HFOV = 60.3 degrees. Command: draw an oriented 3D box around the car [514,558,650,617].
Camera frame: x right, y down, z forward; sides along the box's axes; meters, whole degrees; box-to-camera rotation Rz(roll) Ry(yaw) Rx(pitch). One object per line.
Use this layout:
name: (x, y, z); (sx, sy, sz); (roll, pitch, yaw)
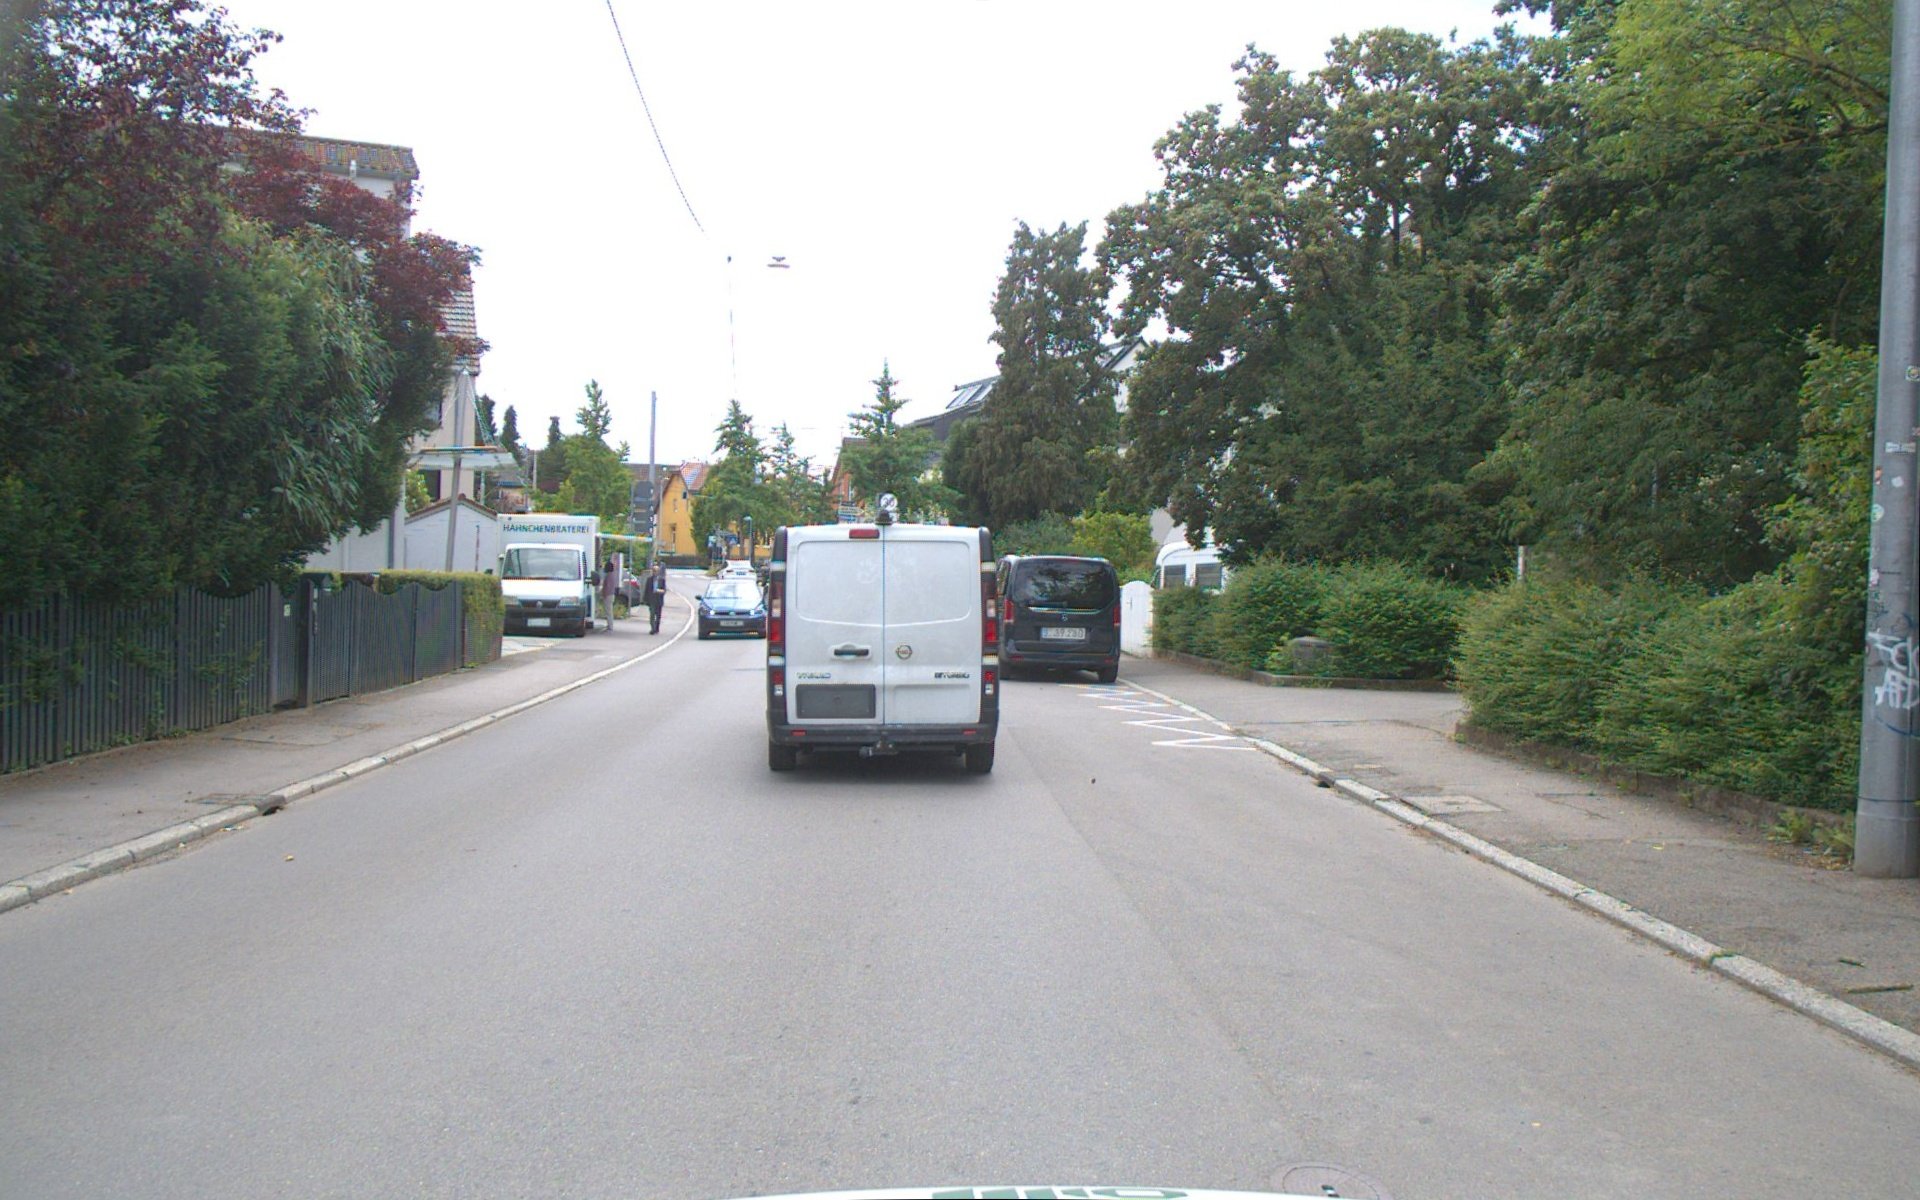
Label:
car: (-12.794, -0.419, 55.955); (4.248, 1.725, 1.787); (3, 0, -21)

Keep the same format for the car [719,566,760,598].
car: (-12.541, -1.041, 93.925); (1.959, 1.813, 3.986); (0, 1, -14)

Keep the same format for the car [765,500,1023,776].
car: (-0.742, 0.267, 14.541); (1.879, 2.037, 4.431); (1, 0, -7)

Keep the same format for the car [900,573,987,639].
car: (-0.473, 0.114, 42.756); (1.727, 1.610, 4.010); (0, 1, -9)

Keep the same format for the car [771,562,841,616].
car: (-5.571, -0.419, 59.510); (1.959, 1.880, 3.986); (0, 1, -14)

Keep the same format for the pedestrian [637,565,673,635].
pedestrian: (-7.761, -0.006, 42.138); (0.709, 1.716, 1.108); (3, 0, -5)

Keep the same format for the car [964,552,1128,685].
car: (1.271, 0.245, 26.692); (1.872, 1.880, 5.152); (2, 0, -5)

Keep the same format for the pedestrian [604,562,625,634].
pedestrian: (-8.421, -0.054, 40.303); (0.394, 1.724, 0.596); (3, 0, -11)

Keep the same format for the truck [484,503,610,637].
truck: (-9.797, -0.702, 39.744); (2.428, 2.890, 6.691); (2, 1, -10)

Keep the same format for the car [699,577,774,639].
car: (-5.661, 0.185, 42.281); (1.661, 1.457, 3.923); (2, 0, -5)

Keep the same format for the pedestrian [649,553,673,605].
pedestrian: (-11.692, -0.817, 64.692); (0.719, 1.979, 1.216); (3, 0, -5)

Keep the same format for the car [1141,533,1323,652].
car: (6.859, -0.229, 42.395); (2.458, 2.728, 5.162); (3, 0, -17)
